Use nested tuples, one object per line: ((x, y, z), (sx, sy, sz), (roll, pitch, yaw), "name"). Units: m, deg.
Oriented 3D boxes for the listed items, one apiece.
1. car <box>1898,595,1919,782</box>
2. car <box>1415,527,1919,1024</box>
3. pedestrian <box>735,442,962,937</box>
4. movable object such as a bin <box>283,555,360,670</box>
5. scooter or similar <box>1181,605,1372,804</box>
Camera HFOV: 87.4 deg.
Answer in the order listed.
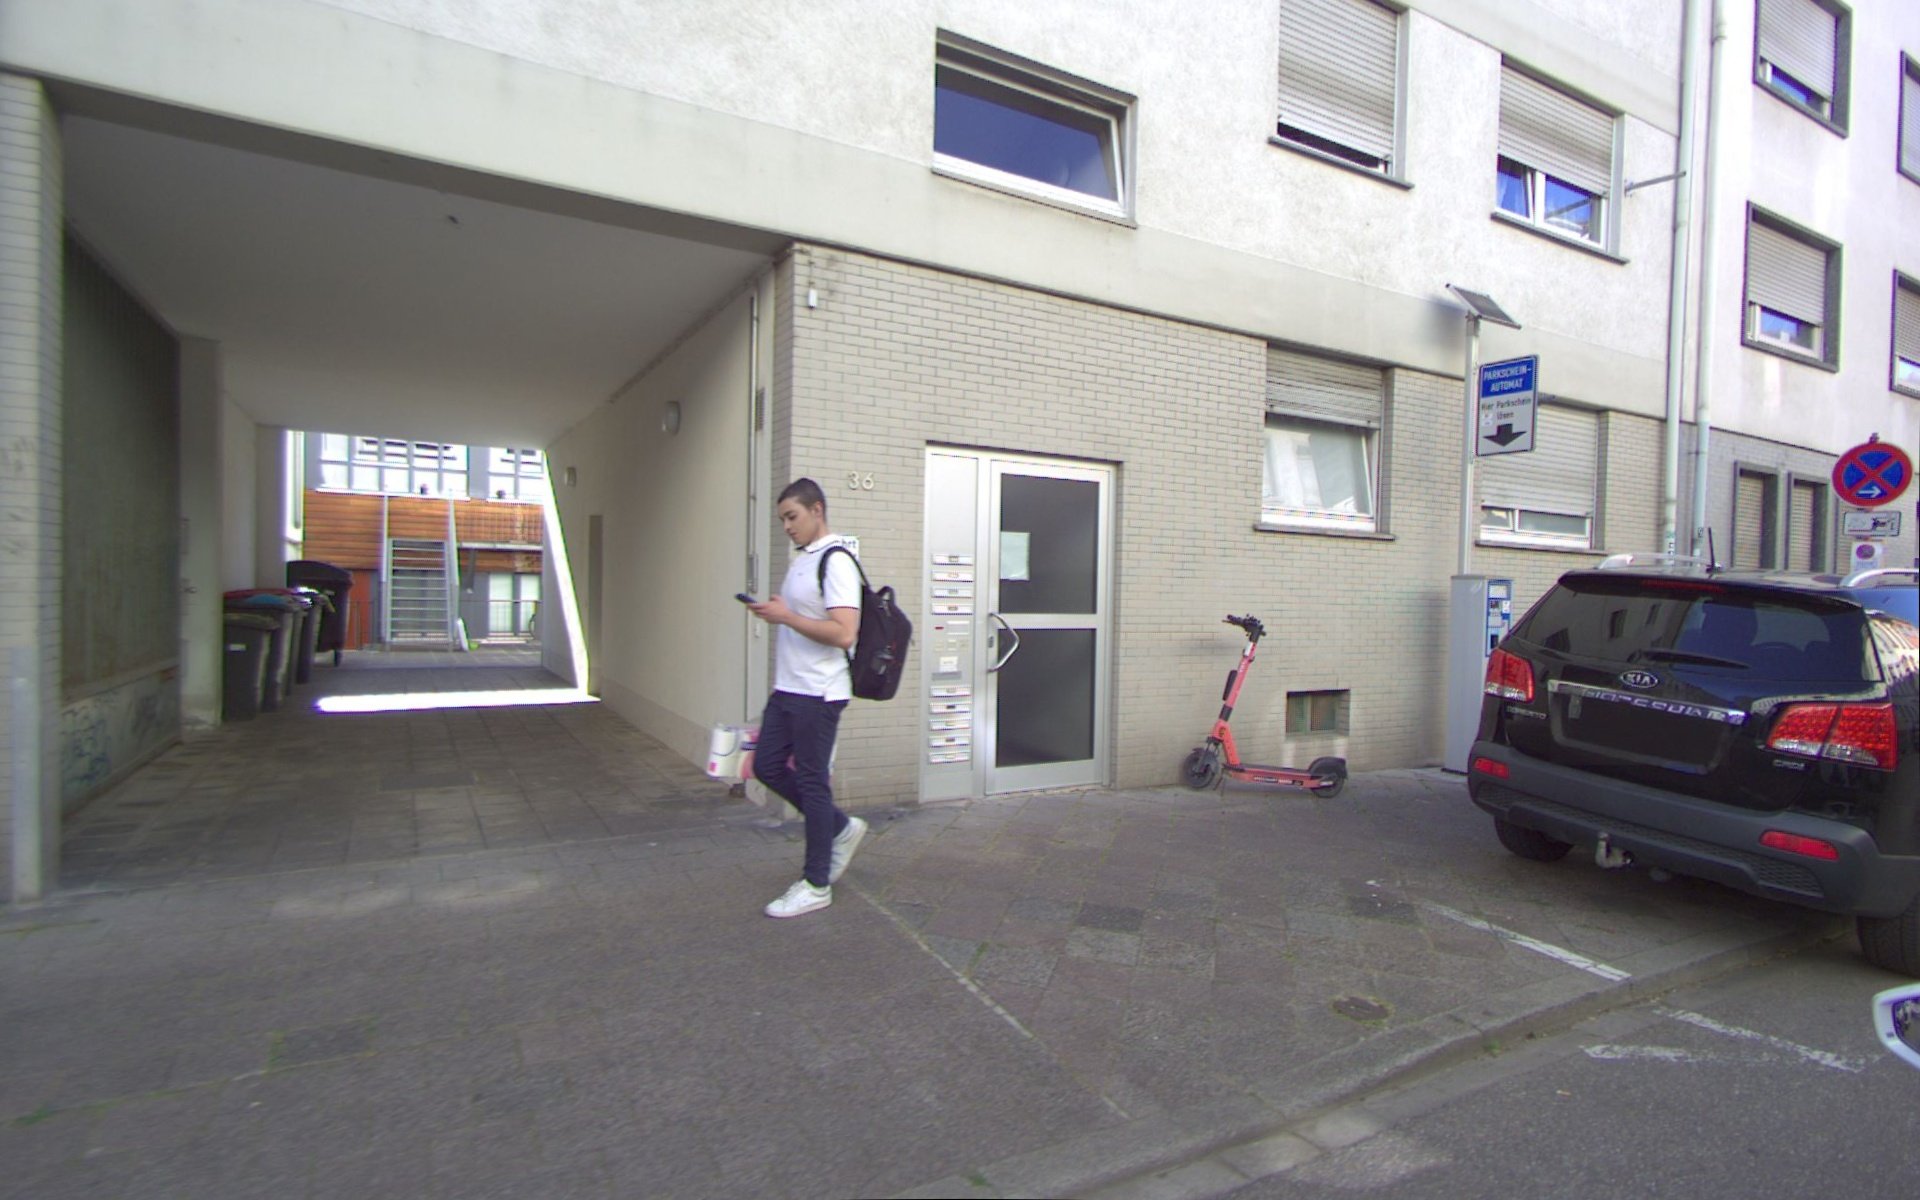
((11.636, 0.888, 9.629), (5.180, 1.729, 2.430), (1, 1, -30), "car")
((4.774, 0.598, 5.630), (4.494, 1.779, 1.868), (0, 4, -34), "car")
((-0.523, 0.344, 4.469), (0.682, 1.960, 0.802), (1, 3, -30), "pedestrian")
((-8.812, 0.171, 13.888), (0.845, 1.547, 0.507), (1, 0, -30), "movable object such as a bin")
((2.176, 0.696, 7.002), (1.208, 1.295, 0.438), (1, 0, 12), "scooter or similar")
